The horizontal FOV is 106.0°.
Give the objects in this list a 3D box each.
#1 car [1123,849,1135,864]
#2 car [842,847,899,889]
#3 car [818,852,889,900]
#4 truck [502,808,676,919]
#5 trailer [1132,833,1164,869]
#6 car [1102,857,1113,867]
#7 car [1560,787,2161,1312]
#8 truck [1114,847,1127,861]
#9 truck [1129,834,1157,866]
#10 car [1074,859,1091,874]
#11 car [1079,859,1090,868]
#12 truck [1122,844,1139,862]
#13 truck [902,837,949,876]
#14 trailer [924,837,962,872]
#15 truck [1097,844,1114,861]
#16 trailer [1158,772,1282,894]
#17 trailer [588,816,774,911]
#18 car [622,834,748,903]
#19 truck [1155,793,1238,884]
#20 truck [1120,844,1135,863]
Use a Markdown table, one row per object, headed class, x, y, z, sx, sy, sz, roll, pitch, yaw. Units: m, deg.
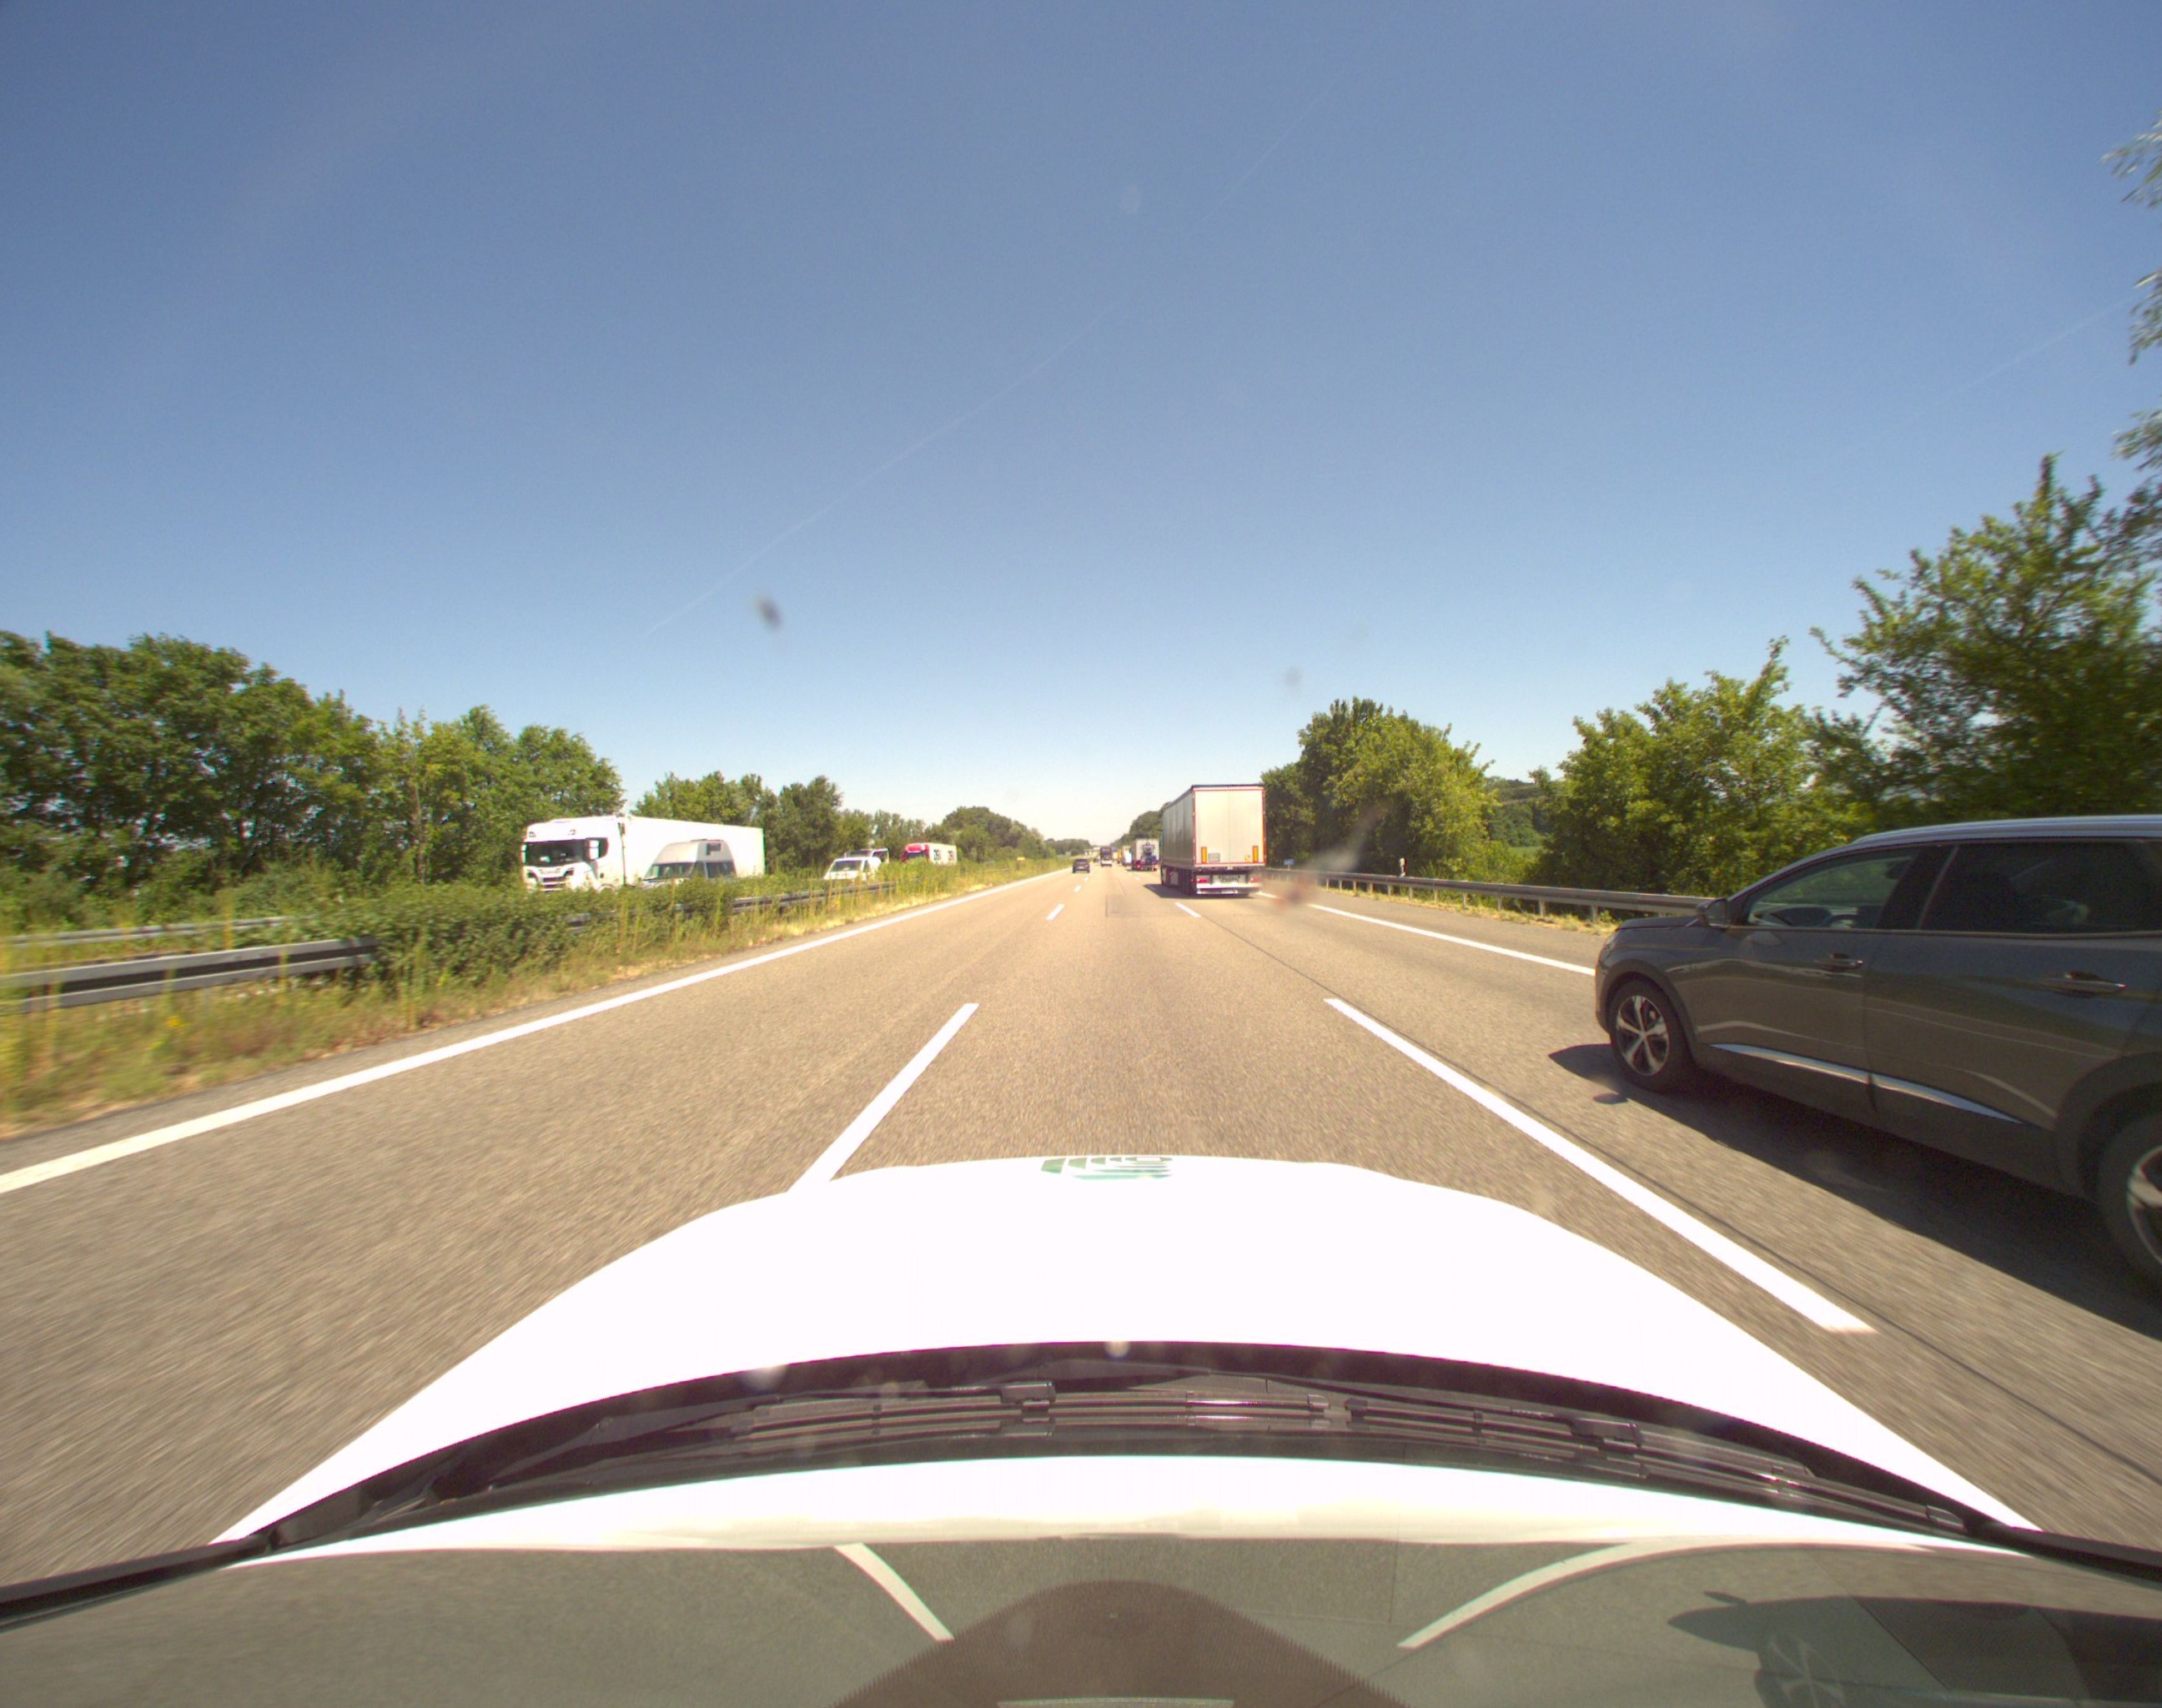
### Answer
| class | x | y | z | sx | sy | sz | roll | pitch | yaw |
| --- | --- | --- | --- | --- | --- | --- | --- | --- | --- |
| car | 7.995 | 0.409 | 136.252 | 1.900 | 2.425 | 4.287 | 0 | 1 | 2 |
| car | -15.393 | 0.954 | 59.959 | 2.321 | 2.822 | 6.607 | -2 | 0 | 0 |
| car | -11.102 | 1.018 | 40.080 | 1.918 | 2.120 | 5.279 | -1 | 0 | 0 |
| truck | -19.895 | 0.318 | 33.510 | 3.060 | 4.111 | 6.527 | 0 | 1 | 1 |
| trailer | 7.633 | -0.388 | 94.135 | 3.111 | 3.926 | 9.938 | 0 | 1 | 1 |
| car | 4.559 | 1.396 | 140.826 | 1.893 | 1.531 | 4.086 | 0 | 1 | 2 |
| car | 4.303 | 0.578 | 3.767 | 1.838 | 1.628 | 4.137 | -1 | 0 | 2 |
| truck | 10.695 | -0.095 | 222.129 | 3.475 | 3.725 | 7.114 | 0 | 1 | 3 |
| truck | 7.821 | -0.493 | 104.071 | 3.046 | 3.879 | 10.038 | 0 | 1 | 2 |
| car | 0.176 | 1.327 | 86.797 | 1.752 | 1.531 | 4.287 | 0 | 1 | 2 |
| car | 0.706 | 1.733 | 147.232 | 1.893 | 1.531 | 4.086 | 0 | 1 | 2 |
| truck | 10.874 | -0.271 | 179.031 | 3.652 | 3.725 | 7.114 | 0 | 1 | 3 |
| truck | -17.994 | 0.208 | 94.985 | 3.059 | 4.310 | 10.633 | 0 | 1 | 2 |
| trailer | -17.616 | 0.013 | 104.794 | 3.036 | 4.325 | 9.036 | -1 | 1 | 2 |
| truck | 5.419 | -0.320 | 178.948 | 3.652 | 3.725 | 7.114 | 0 | 1 | 3 |
| trailer | 5.433 | -0.699 | 34.892 | 3.421 | 4.181 | 13.639 | 0 | 0 | 2 |
| trailer | -19.665 | 0.334 | 41.467 | 3.036 | 4.038 | 12.239 | -1 | 1 | 2 |
| car | -15.269 | 0.520 | 31.812 | 2.202 | 2.362 | 5.298 | -2 | 0 | 0 |
| truck | 5.652 | -0.666 | 41.134 | 3.451 | 4.177 | 6.846 | 0 | -1 | 2 |
| truck | 9.224 | -0.178 | 161.099 | 2.781 | 3.725 | 7.114 | 0 | 1 | 3 |
